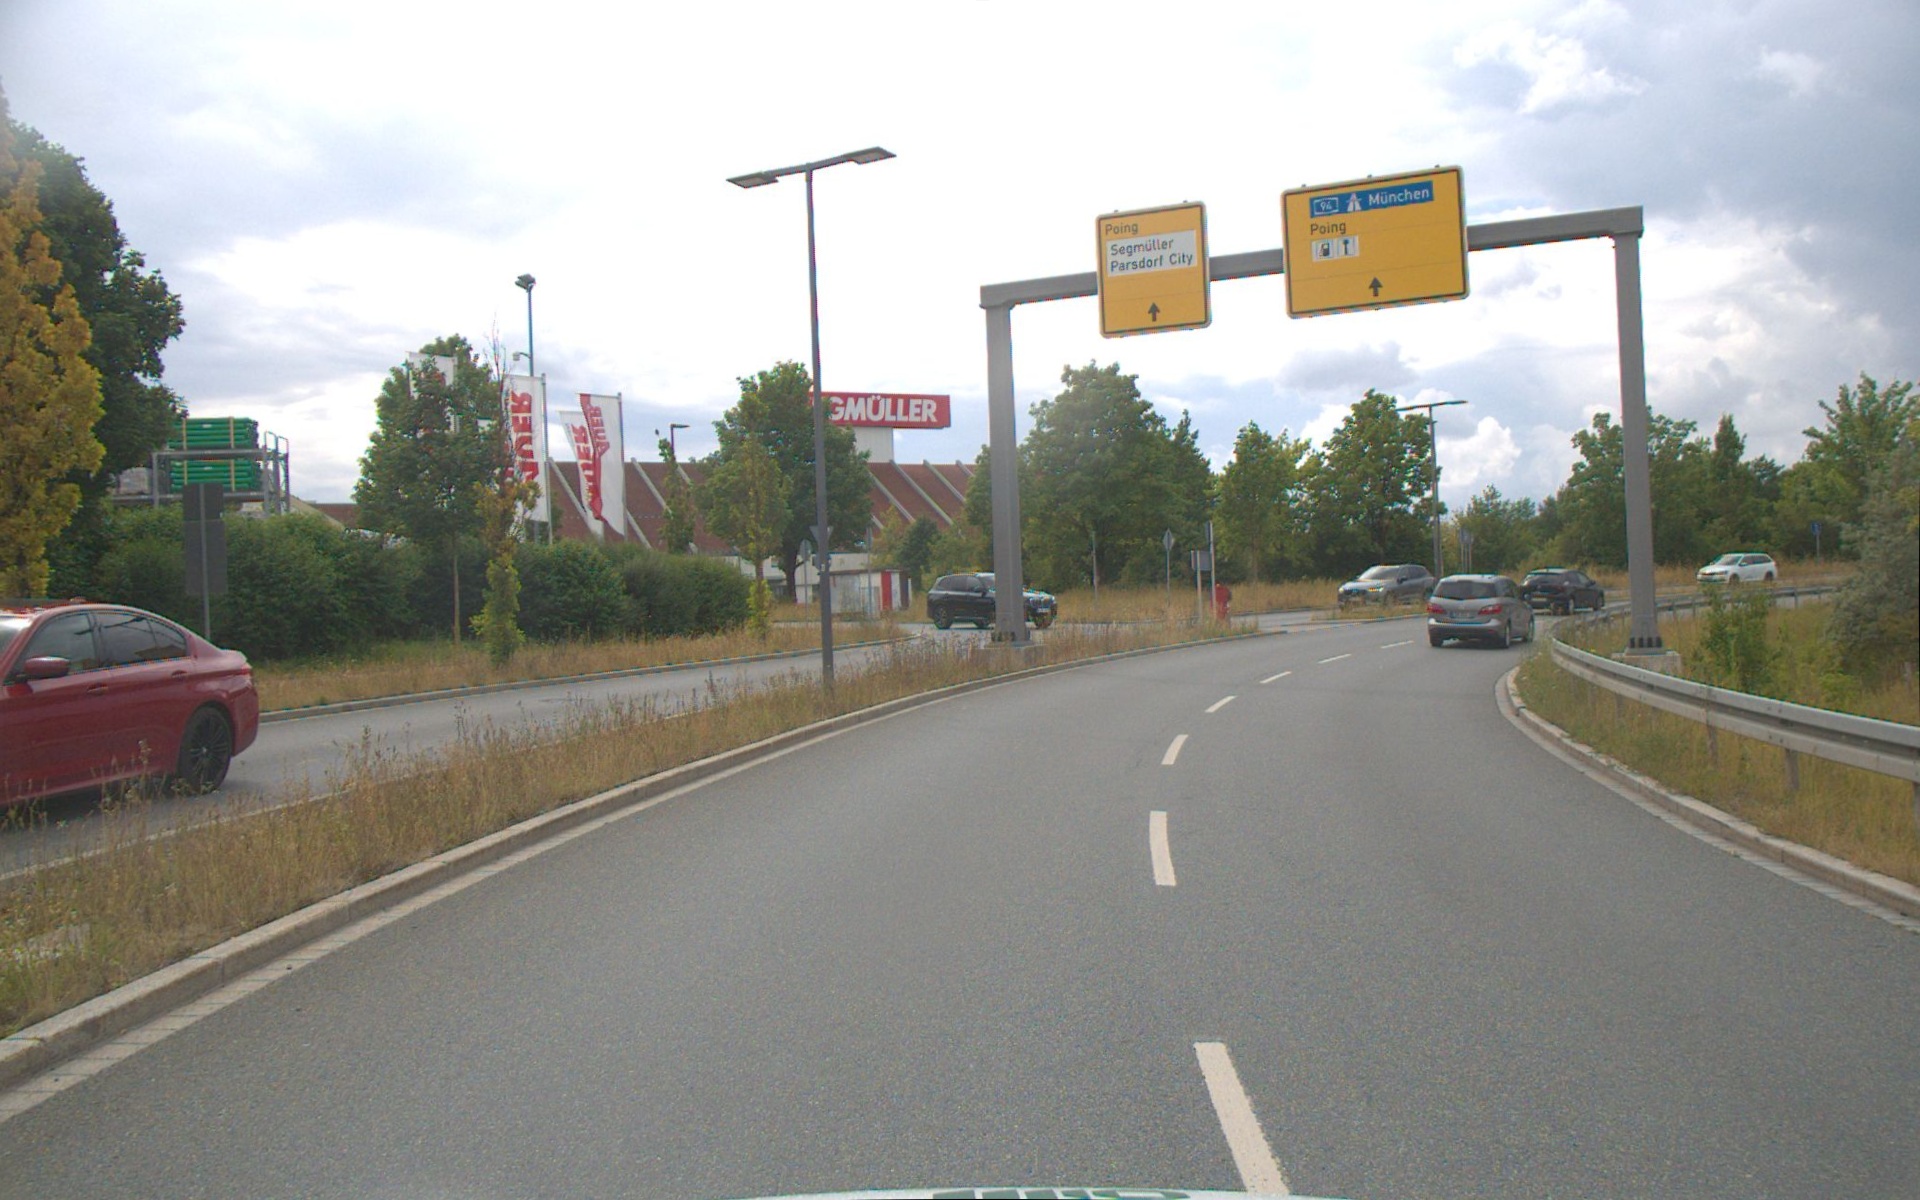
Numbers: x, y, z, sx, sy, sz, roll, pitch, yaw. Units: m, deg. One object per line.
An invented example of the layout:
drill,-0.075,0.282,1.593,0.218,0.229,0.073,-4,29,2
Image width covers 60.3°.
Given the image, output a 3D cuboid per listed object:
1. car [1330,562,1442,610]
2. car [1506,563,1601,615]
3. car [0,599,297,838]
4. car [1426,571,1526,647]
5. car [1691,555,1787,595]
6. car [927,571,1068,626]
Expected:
car,15.369,-0.520,59.546,4.651,1.658,1.786,-1,2,-44
car,19.500,-0.371,54.260,1.839,1.633,3.717,-1,0,38
car,-6.760,0.745,11.544,1.753,1.472,4.975,1,0,7
car,11.974,0.184,38.246,1.732,1.645,3.919,-1,0,24
car,35.514,-1.129,75.398,4.200,1.663,1.707,-2,0,-26
car,1.097,-0.040,49.989,1.859,1.577,4.187,-2,1,-43
